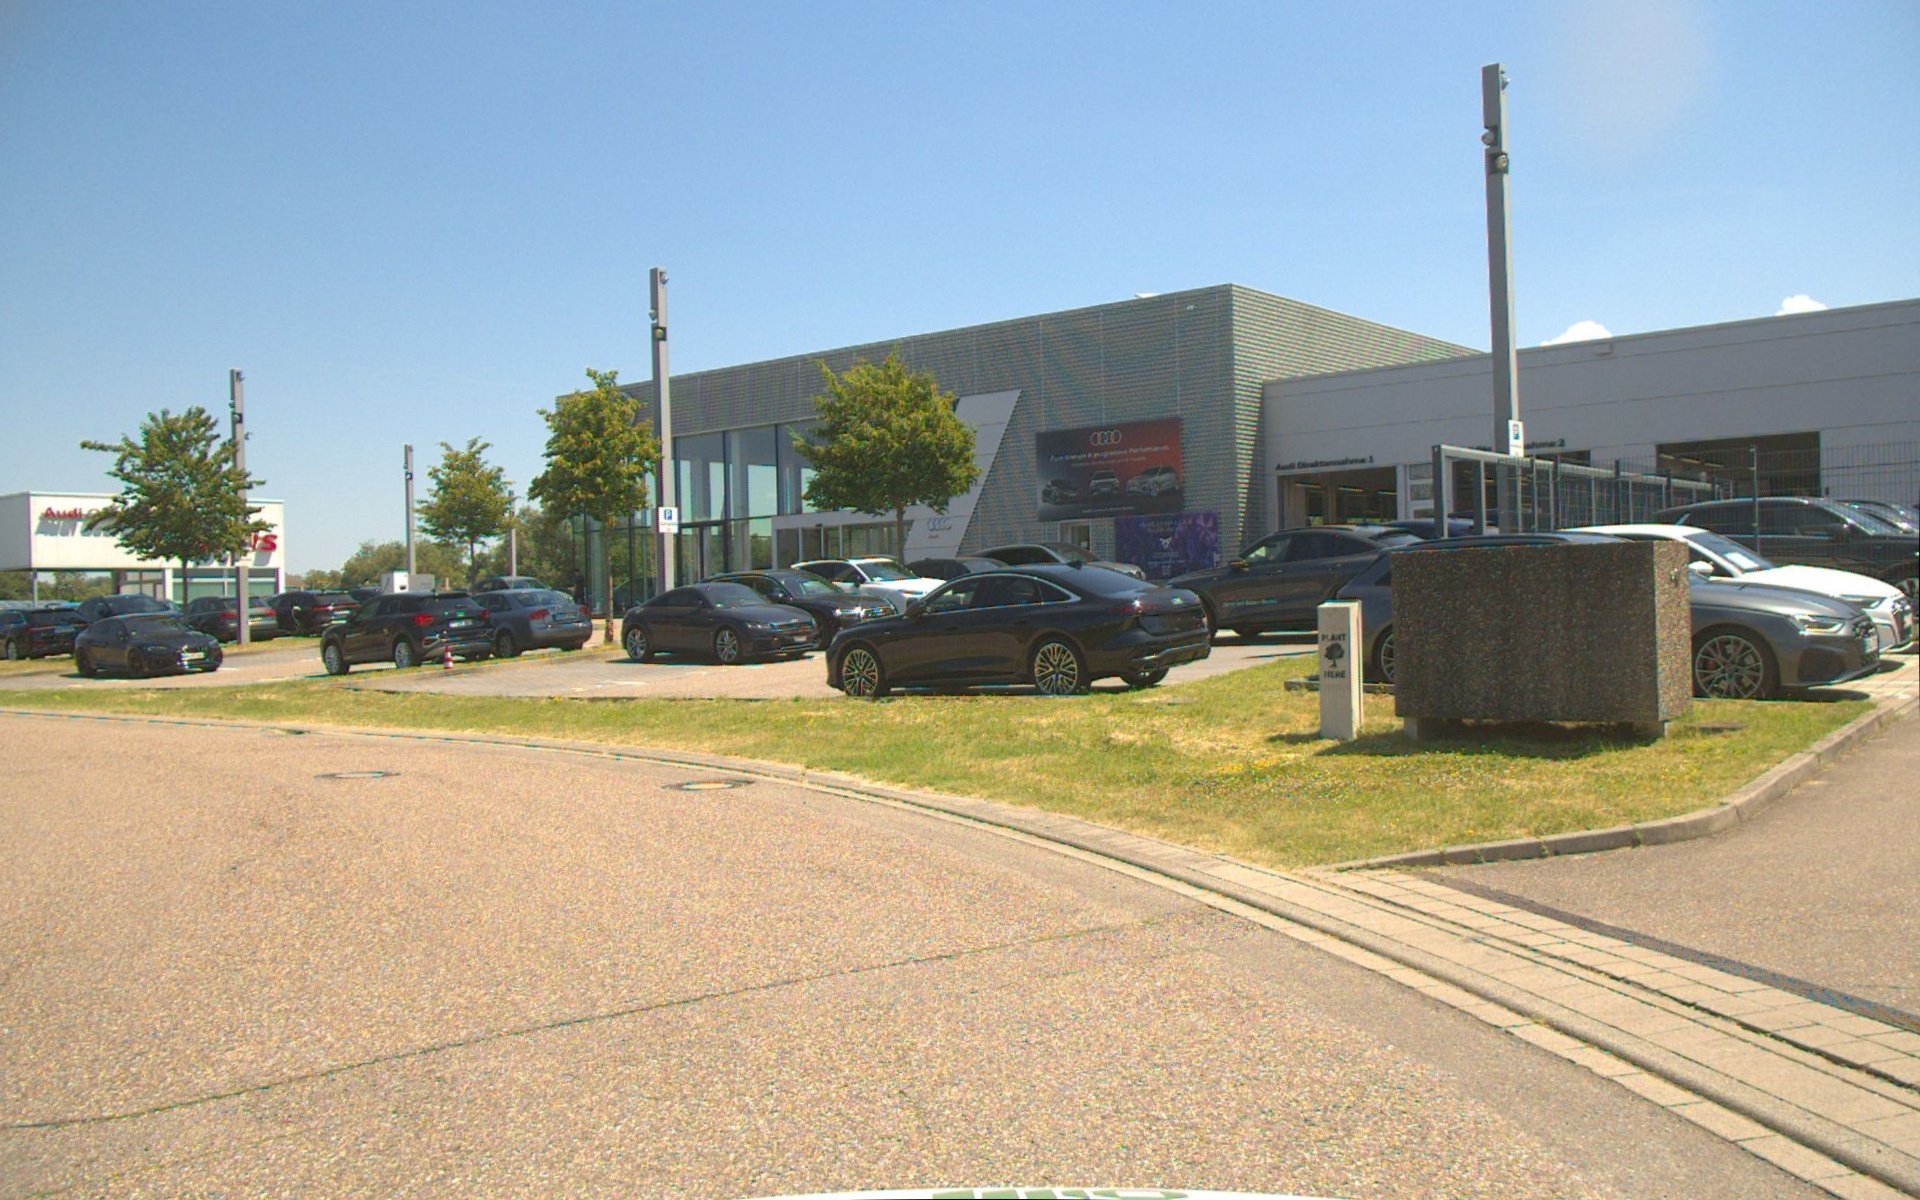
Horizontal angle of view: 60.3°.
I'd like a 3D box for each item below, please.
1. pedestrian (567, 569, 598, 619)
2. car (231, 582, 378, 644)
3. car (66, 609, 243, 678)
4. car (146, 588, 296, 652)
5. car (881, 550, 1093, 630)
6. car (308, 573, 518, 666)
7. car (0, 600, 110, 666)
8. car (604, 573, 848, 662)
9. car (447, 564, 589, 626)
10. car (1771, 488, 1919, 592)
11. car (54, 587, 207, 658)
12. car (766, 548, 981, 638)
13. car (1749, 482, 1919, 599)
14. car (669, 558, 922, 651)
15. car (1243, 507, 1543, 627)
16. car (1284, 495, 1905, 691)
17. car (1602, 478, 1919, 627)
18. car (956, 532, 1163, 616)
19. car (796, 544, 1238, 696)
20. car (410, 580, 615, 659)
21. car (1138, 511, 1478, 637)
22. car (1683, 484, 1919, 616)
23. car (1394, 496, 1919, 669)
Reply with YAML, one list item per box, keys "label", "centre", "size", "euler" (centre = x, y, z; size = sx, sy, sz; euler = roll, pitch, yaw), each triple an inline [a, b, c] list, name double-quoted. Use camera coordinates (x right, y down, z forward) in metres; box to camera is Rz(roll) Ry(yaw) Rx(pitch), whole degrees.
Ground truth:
- label: "pedestrian"
  centre: [-13.811, -0.219, 60.488]
  size: [0.732, 1.807, 0.768]
  euler: [-3, 0, 44]
- label: "car"
  centre: [-19.752, 0.403, 49.734]
  size: [4.892, 1.482, 1.958]
  euler: [-4, 0, 40]
- label: "car"
  centre: [-19.044, 0.993, 39.041]
  size: [4.631, 1.390, 1.959]
  euler: [-1, 4, 39]
- label: "car"
  centre: [-21.443, 0.602, 47.921]
  size: [4.892, 1.482, 1.958]
  euler: [-4, 0, 40]
- label: "car"
  centre: [0.553, -0.199, 36.059]
  size: [4.288, 1.502, 1.959]
  euler: [-2, 2, 39]
- label: "car"
  centre: [-10.820, 0.406, 32.616]
  size: [4.146, 1.598, 1.886]
  euler: [-2, 3, 39]
- label: "car"
  centre: [-24.803, 0.936, 44.137]
  size: [4.892, 1.482, 1.958]
  euler: [-4, 0, 40]
- label: "car"
  centre: [-4.278, 0.332, 29.943]
  size: [4.229, 1.398, 1.959]
  euler: [-2, 2, 39]
- label: "car"
  centre: [-14.487, -0.150, 54.062]
  size: [4.892, 1.648, 1.958]
  euler: [-4, 0, 40]
- label: "car"
  centre: [16.467, -1.076, 28.032]
  size: [4.537, 1.658, 1.959]
  euler: [-2, 2, 39]
- label: "car"
  centre: [-23.242, 0.639, 46.268]
  size: [4.892, 1.625, 1.958]
  euler: [-4, 0, 40]
- label: "car"
  centre: [-1.848, -0.135, 34.617]
  size: [4.206, 1.641, 1.959]
  euler: [-2, 2, 39]
- label: "car"
  centre: [14.633, -0.962, 25.265]
  size: [4.294, 1.658, 1.959]
  euler: [-2, 2, 39]
- label: "car"
  centre: [-3.285, 0.104, 32.447]
  size: [4.909, 1.580, 1.959]
  euler: [-2, 2, 39]
- label: "car"
  centre: [6.983, -0.501, 26.918]
  size: [4.332, 1.724, 1.822]
  euler: [-2, 0, 39]
- label: "car"
  centre: [5.591, -0.035, 14.934]
  size: [4.850, 1.493, 1.959]
  euler: [-2, 2, 39]
- label: "car"
  centre: [10.676, -0.598, 20.660]
  size: [4.537, 1.658, 1.959]
  euler: [-2, 2, 39]
- label: "car"
  centre: [2.357, -0.614, 39.803]
  size: [4.638, 1.769, 1.959]
  euler: [-2, 2, 39]
- label: "car"
  centre: [0.556, 0.238, 19.124]
  size: [4.927, 1.479, 1.877]
  euler: [-2, 3, 39]
- label: "car"
  centre: [-9.316, 0.409, 34.307]
  size: [4.146, 1.390, 1.960]
  euler: [-2, 3, 39]
- label: "car"
  centre: [5.182, -0.348, 25.009]
  size: [4.694, 1.672, 1.822]
  euler: [-2, 0, 39]
- label: "car"
  centre: [12.642, -0.721, 22.791]
  size: [4.537, 1.658, 1.959]
  euler: [-2, 2, 39]
- label: "car"
  centre: [7.226, -0.144, 17.278]
  size: [4.850, 1.555, 1.818]
  euler: [-2, 2, 39]
